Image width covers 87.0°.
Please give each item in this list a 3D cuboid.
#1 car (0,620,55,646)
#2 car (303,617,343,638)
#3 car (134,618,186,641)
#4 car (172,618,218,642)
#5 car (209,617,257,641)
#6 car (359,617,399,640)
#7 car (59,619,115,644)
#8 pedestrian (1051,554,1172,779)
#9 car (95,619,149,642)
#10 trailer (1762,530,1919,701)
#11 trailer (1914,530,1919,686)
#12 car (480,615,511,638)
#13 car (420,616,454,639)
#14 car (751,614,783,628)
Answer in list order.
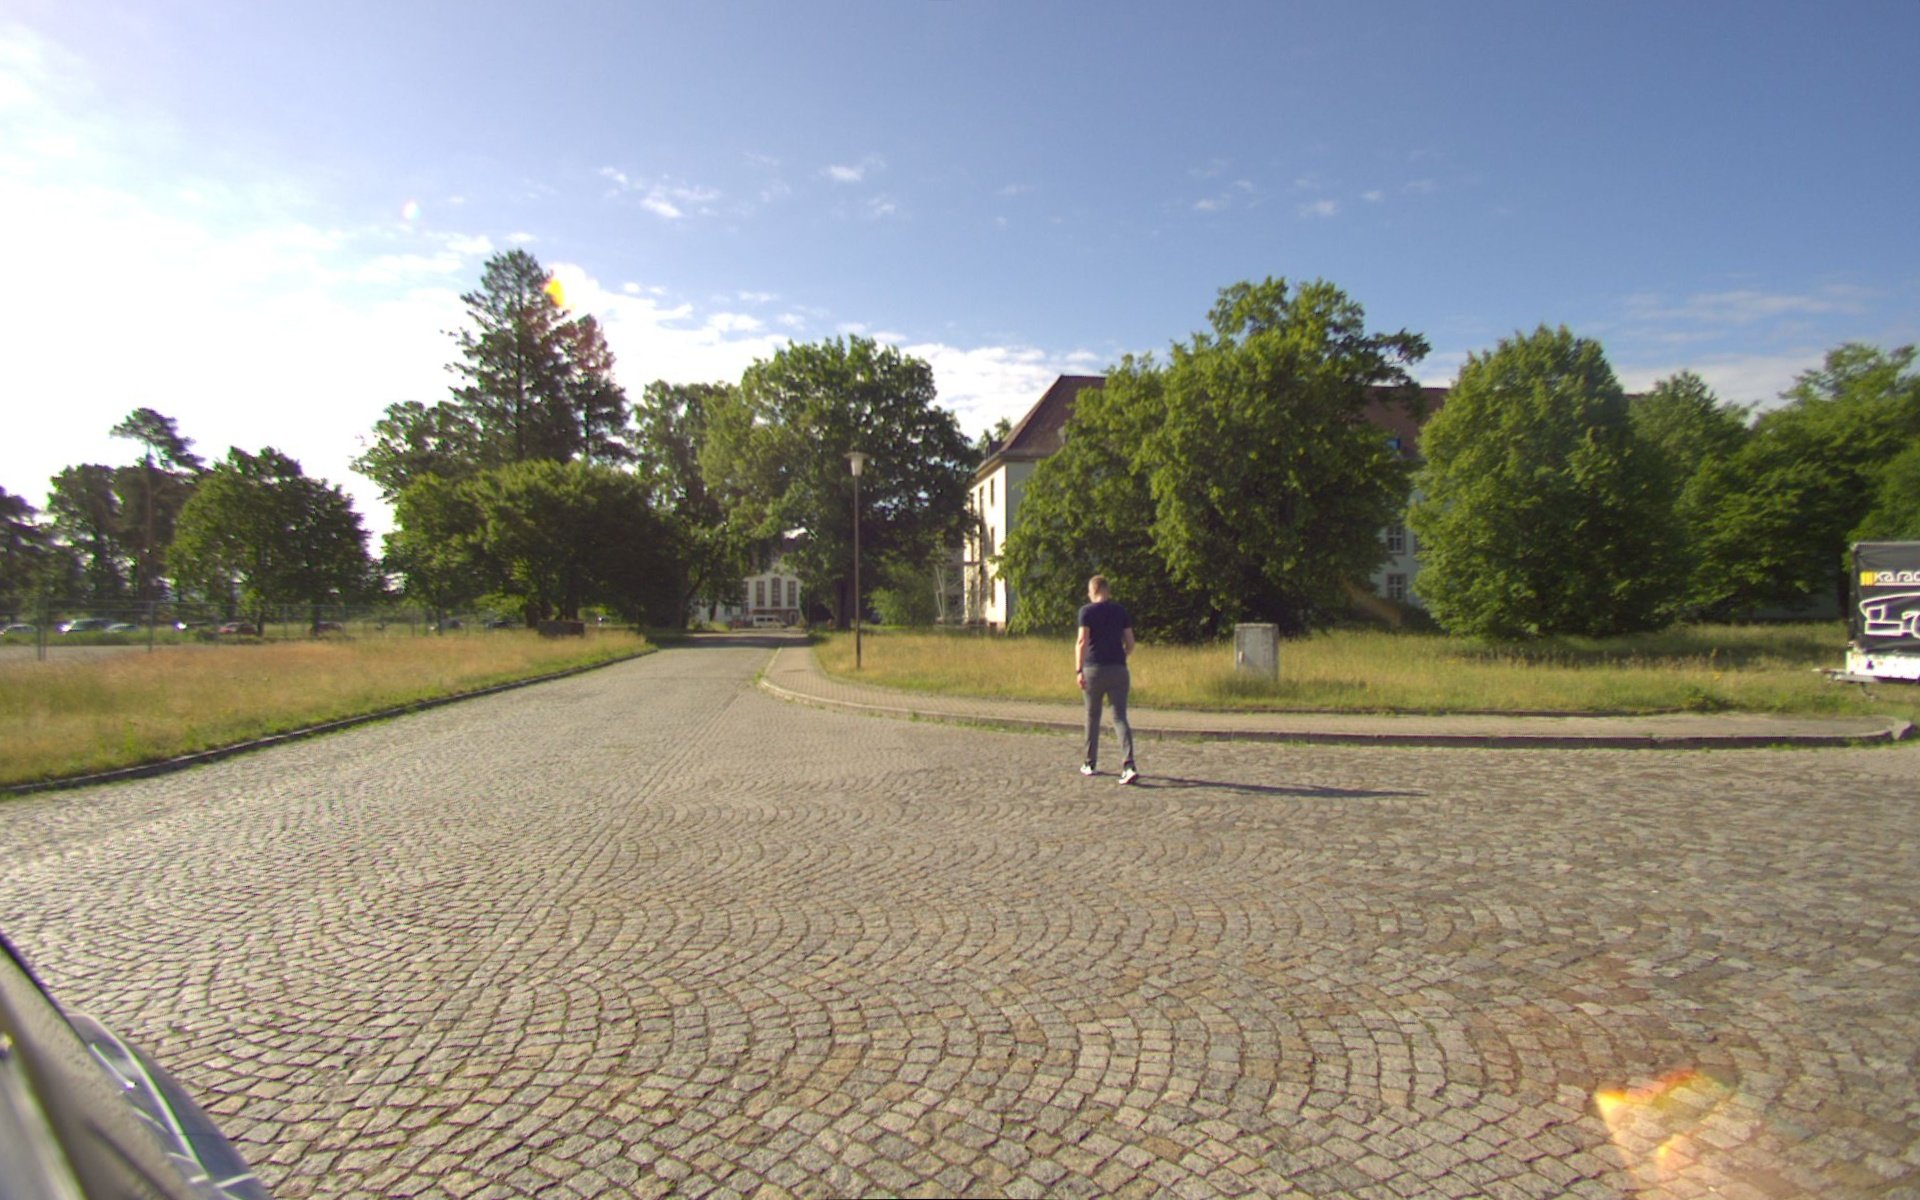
[{"bbox_3d":[-80.940,2.841,87.431,1.971,2.029,4.002,-3,0,-3],"label":"car"},{"bbox_3d":[-57.209,2.475,90.900,1.966,1.829,4.011,0,-1,-16],"label":"car"},{"bbox_3d":[-71.213,2.601,90.158,1.968,2.029,4.008,0,-1,-9],"label":"car"},{"bbox_3d":[-67.318,2.592,89.124,1.966,2.029,4.012,0,-1,-17],"label":"car"},{"bbox_3d":[-64.493,2.563,89.875,1.967,2.029,4.009,0,-1,-11],"label":"car"},{"bbox_3d":[-52.750,2.547,91.964,1.967,2.029,4.009,0,-1,-12],"label":"car"},{"bbox_3d":[-75.674,2.713,87.779,1.967,2.029,4.009,0,-1,-11],"label":"car"},{"bbox_3d":[1.364,0.582,9.308,0.787,1.929,1.144,0,-1,-8],"label":"pedestrian"},{"bbox_3d":[-73.368,2.635,88.673,1.967,1.962,4.009,0,-1,-11],"label":"car"},{"bbox_3d":[13.837,0.204,13.707,1.981,2.290,4.477,0,0,-9],"label":"trailer"},{"bbox_3d":[16.338,0.125,13.566,1.910,2.409,4.869,0,0,-15],"label":"trailer"},{"bbox_3d":[-42.497,2.447,92.643,1.966,2.029,4.011,0,-1,-16],"label":"car"},{"bbox_3d":[-47.577,2.452,92.109,1.966,2.029,4.011,0,-1,-16],"label":"car"},{"bbox_3d":[-30.104,3.292,157.788,4.795,2.111,2.004,0,-1,-9],"label":"car"}]
